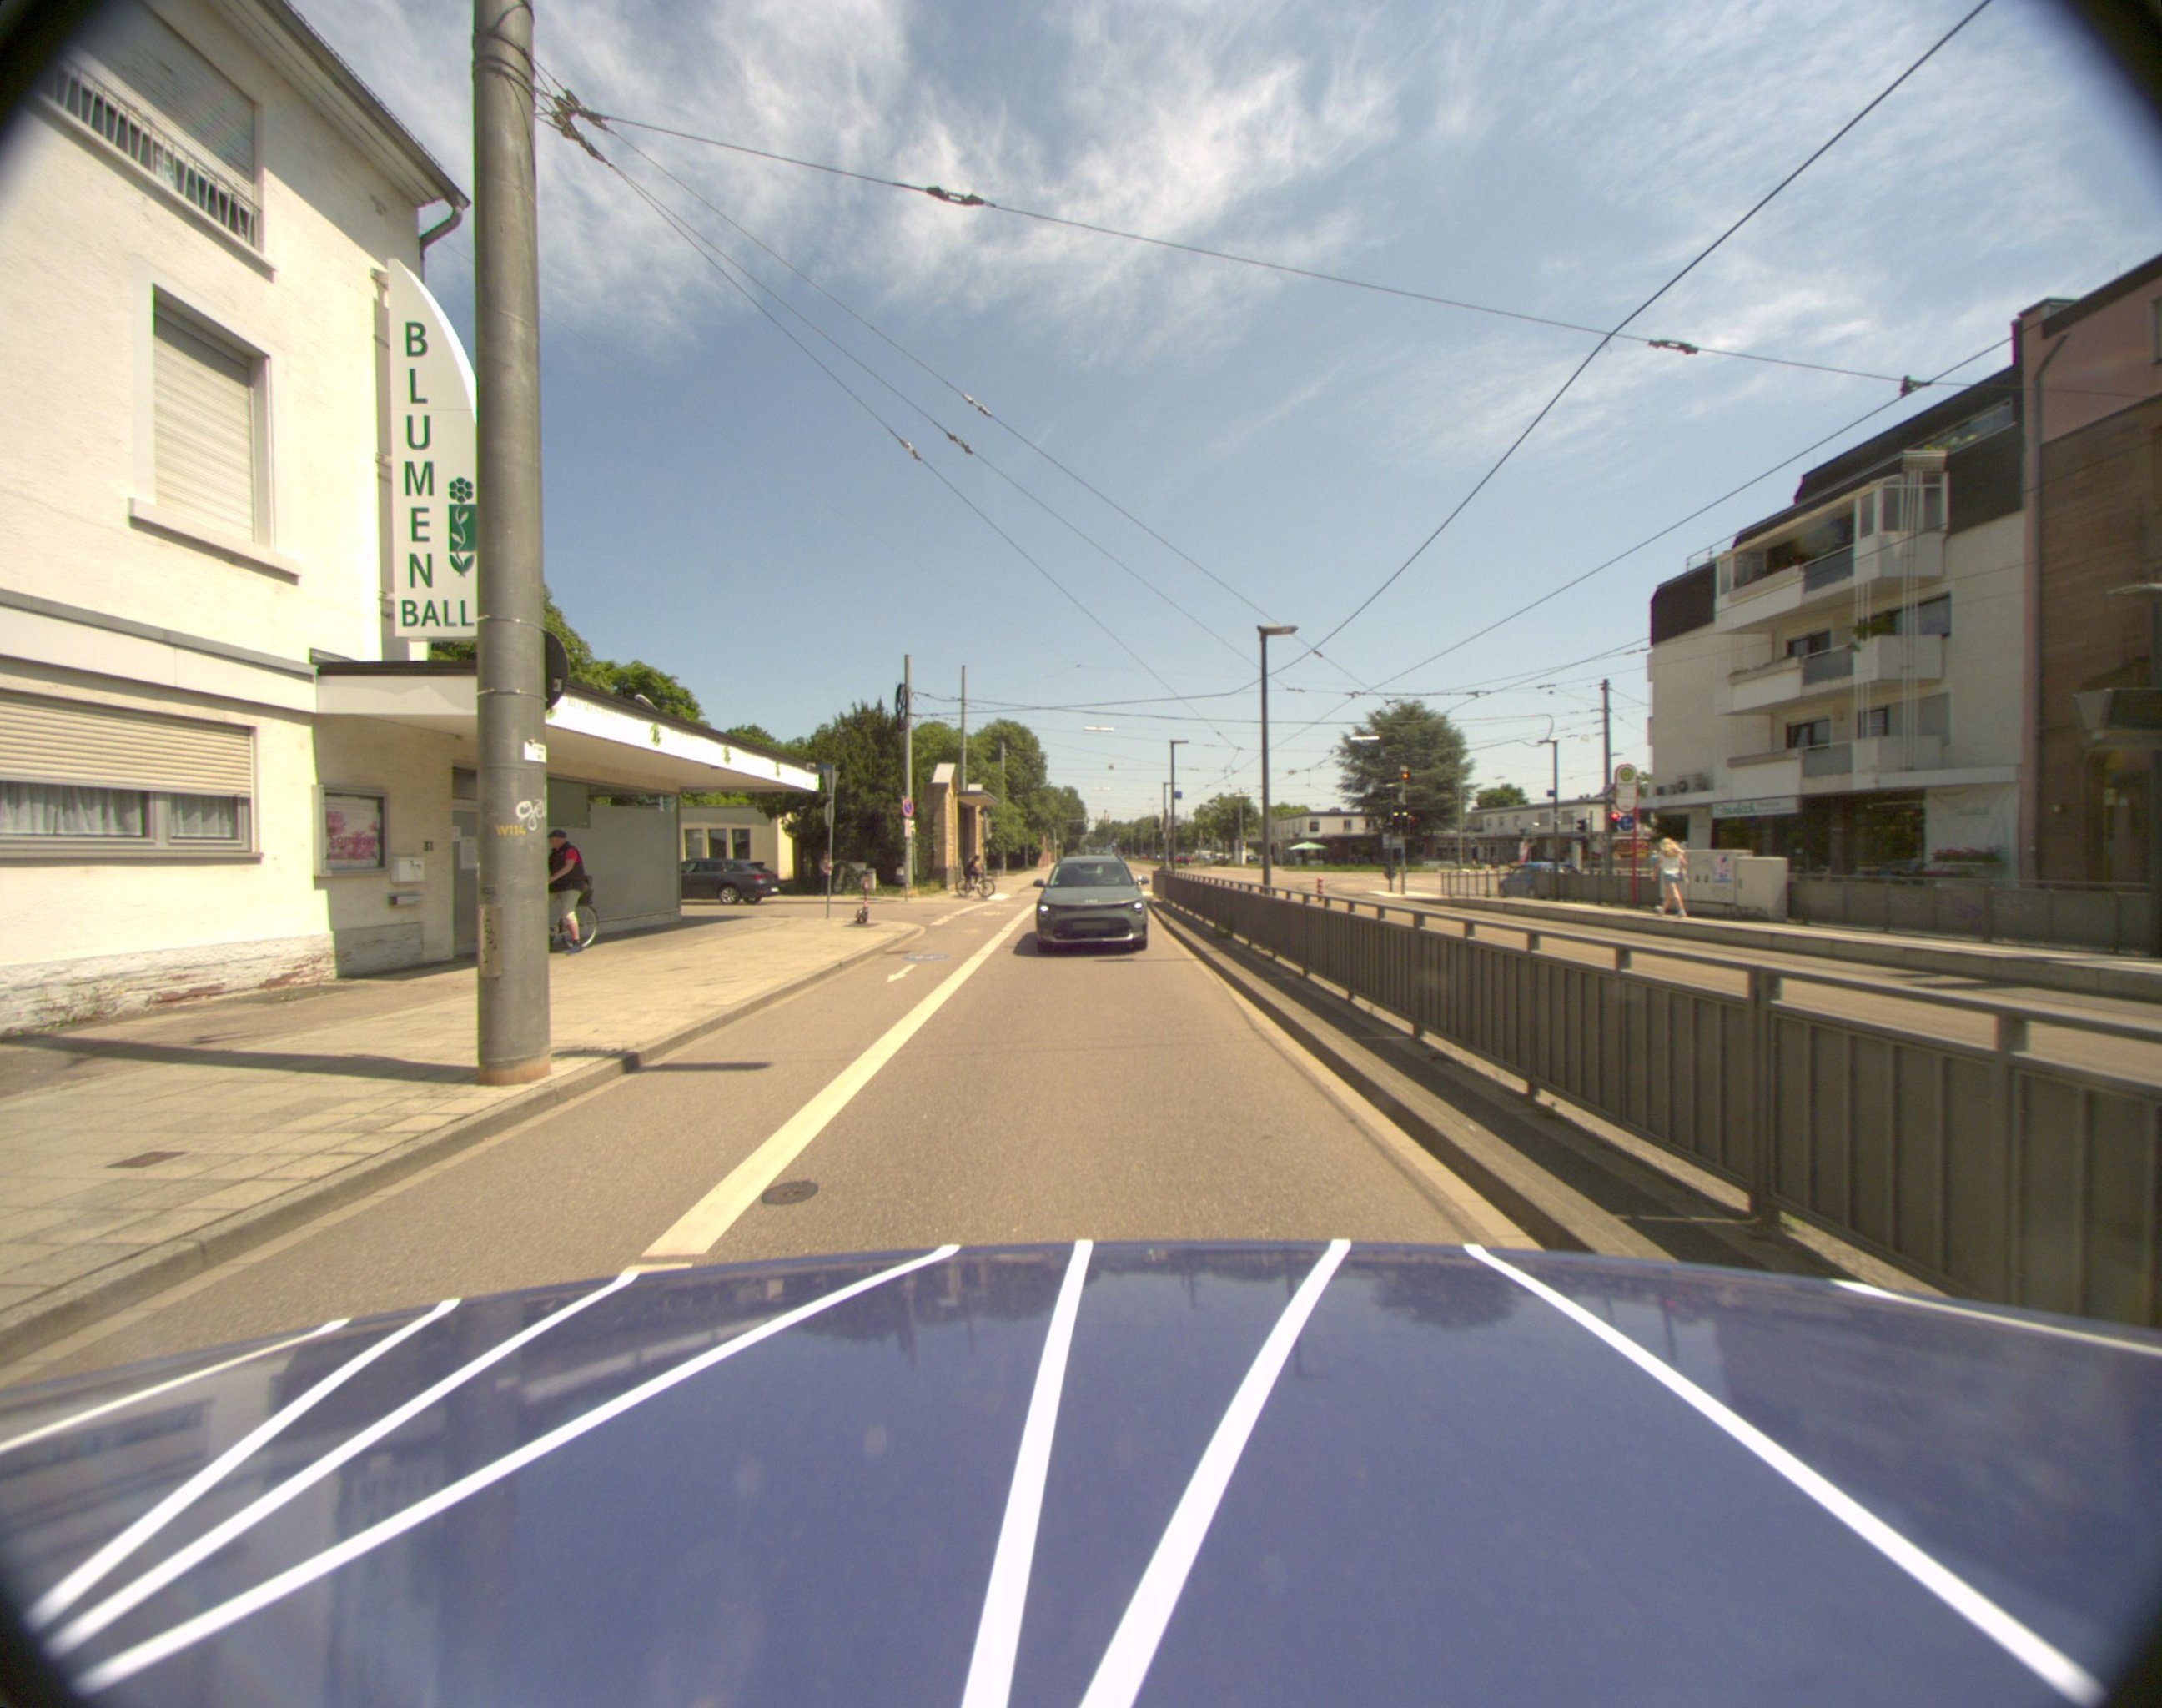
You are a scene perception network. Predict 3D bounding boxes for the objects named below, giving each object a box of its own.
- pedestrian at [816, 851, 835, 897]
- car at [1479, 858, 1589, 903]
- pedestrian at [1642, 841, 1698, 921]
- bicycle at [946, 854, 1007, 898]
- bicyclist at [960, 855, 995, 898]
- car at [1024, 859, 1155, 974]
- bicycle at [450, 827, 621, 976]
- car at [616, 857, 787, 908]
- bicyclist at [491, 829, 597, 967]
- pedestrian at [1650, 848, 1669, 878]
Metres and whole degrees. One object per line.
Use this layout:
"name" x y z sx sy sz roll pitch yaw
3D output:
"pedestrian" -8.929 0.699 26.579 0.536 1.589 0.425 -2 1 -13
"car" 16.655 0.926 28.186 1.696 1.477 4.000 -2 0 1
"pedestrian" 12.250 0.548 15.816 0.597 1.615 0.676 1 1 0
"bicycle" -4.049 0.853 29.369 2.054 1.580 0.888 4 0 -31
"bicyclist" -4.009 0.882 29.392 0.988 1.568 0.866 4 0 -31
"car" 0.168 0.894 12.924 1.827 1.546 4.487 -1 1 1
"bicycle" -7.666 0.618 10.815 0.800 1.889 1.959 2 0 7
"car" -11.674 0.867 23.556 4.462 1.449 1.595 1 -1 0
"bicyclist" -7.650 0.603 10.870 0.790 1.863 0.888 2 0 7
"pedestrian" 33.139 0.486 43.523 0.577 1.705 0.646 1 1 0
